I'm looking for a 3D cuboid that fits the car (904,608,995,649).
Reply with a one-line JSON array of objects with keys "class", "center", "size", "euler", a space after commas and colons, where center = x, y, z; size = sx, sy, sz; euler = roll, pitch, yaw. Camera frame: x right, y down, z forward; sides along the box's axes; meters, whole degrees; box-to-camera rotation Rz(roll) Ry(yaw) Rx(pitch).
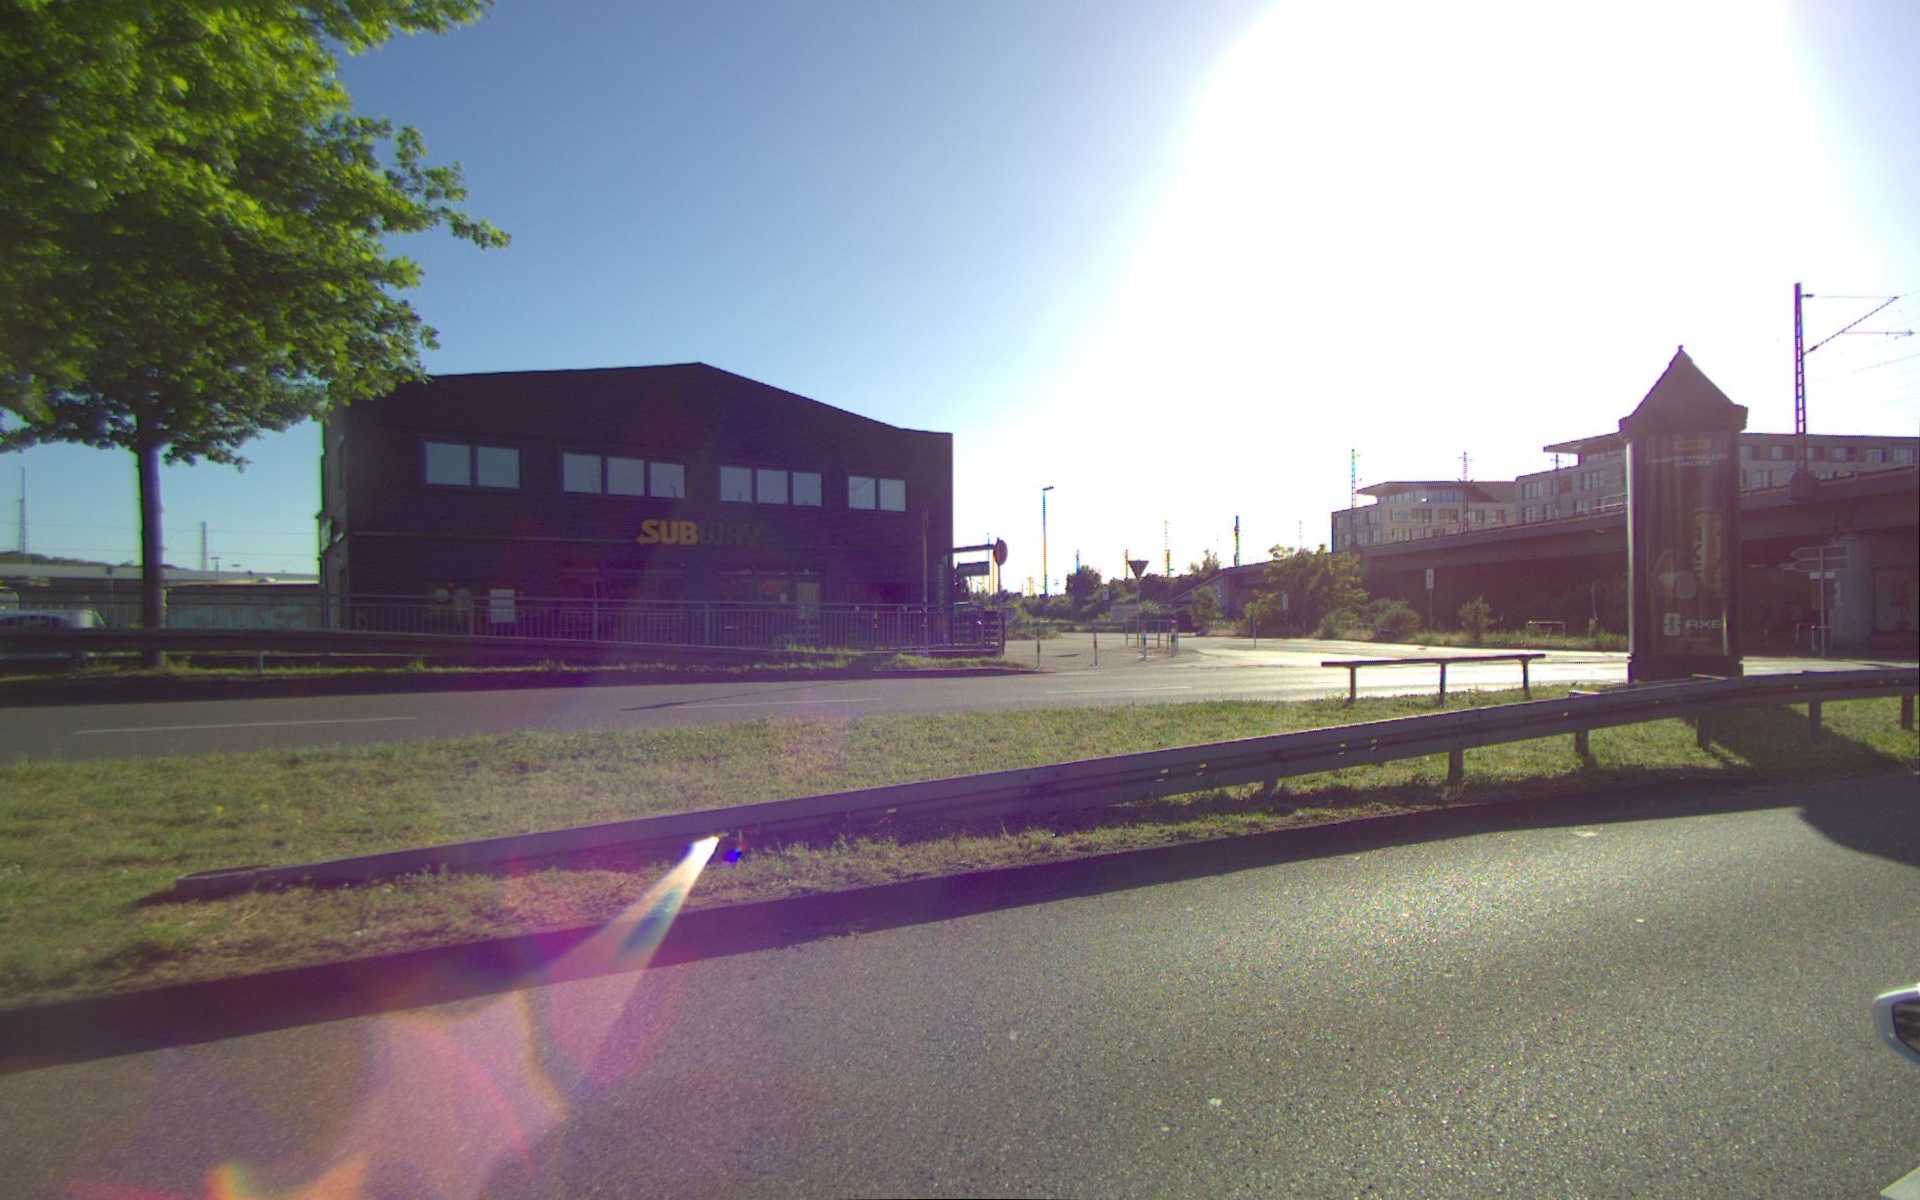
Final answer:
[{"class": "car", "center": [-0.524, 1.339, 45.883], "size": [1.940, 1.737, 4.056], "euler": [2, -4, -43]}]
